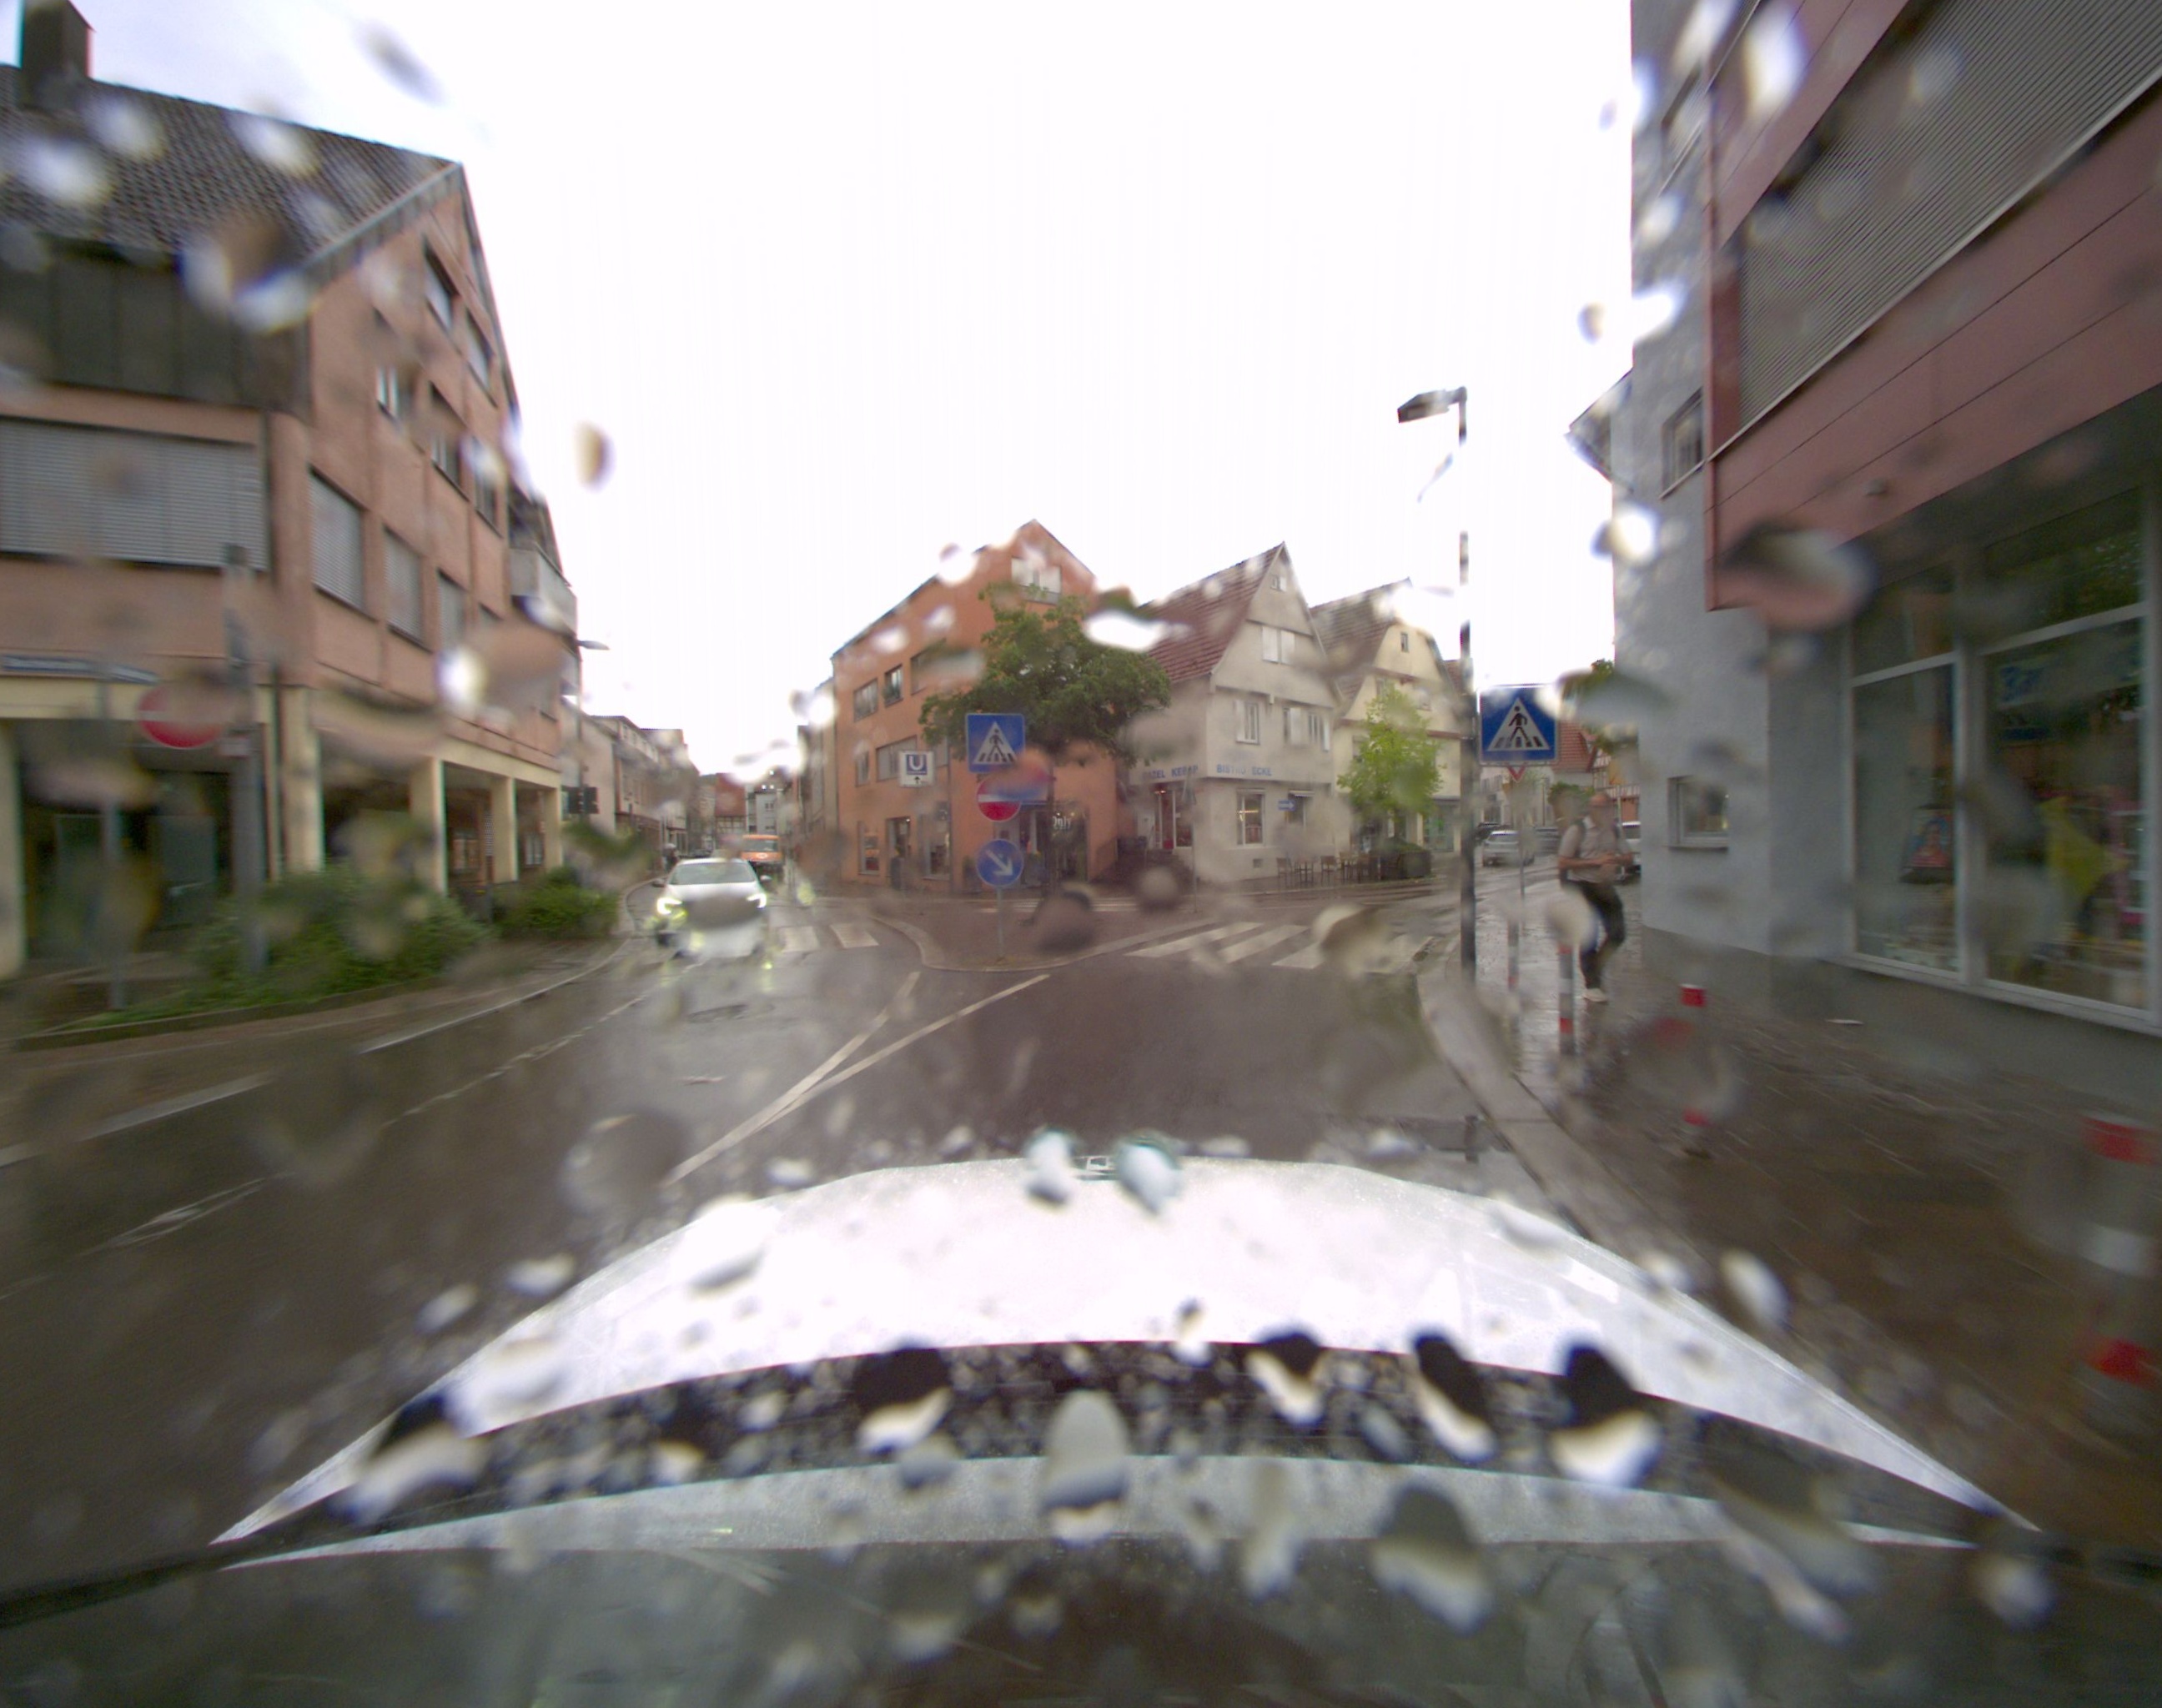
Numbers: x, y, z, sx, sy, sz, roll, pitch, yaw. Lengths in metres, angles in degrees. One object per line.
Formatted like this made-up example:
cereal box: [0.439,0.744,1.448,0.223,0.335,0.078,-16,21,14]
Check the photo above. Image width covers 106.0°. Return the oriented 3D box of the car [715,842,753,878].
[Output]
car: [-23.481,0.411,55.278,2.112,2.146,4.832,-4,1,-22]

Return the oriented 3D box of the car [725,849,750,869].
car: [-37.116,0.577,88.086,1.999,2.013,3.975,-4,1,-18]

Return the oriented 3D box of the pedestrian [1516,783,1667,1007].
pedestrian: [4.664,0.346,7.487,0.756,1.914,0.860,-2,0,-13]

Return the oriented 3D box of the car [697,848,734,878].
car: [-27.486,0.671,61.334,1.999,2.013,4.336,-4,1,-18]

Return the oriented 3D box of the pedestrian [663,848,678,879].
pedestrian: [-27.085,0.620,53.743,0.838,2.013,0.847,-2,0,-25]

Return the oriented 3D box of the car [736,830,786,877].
car: [-16.260,-0.004,41.290,2.113,2.146,4.830,-4,1,-22]

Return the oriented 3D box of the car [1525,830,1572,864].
car: [25.121,-0.423,43.877,1.975,1.592,4.025,-3,1,27]

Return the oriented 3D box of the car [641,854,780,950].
car: [-6.732,0.755,15.172,2.001,1.441,4.134,-2,1,-21]

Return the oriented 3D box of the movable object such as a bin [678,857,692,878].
movable object such as a bin: [-27.461,0.927,56.460,0.838,1.382,0.847,-2,1,-25]

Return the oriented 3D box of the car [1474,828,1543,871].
car: [18.467,-0.209,35.090,1.974,1.592,4.026,-3,1,36]

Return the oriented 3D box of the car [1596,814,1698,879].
car: [16.715,-0.258,23.961,1.974,1.658,4.026,-3,1,41]

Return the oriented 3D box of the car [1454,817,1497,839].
car: [31.469,-2.074,65.052,1.981,1.592,4.011,-4,1,9]

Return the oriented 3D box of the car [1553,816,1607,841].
car: [34.435,-1.760,56.318,1.979,1.592,4.016,-3,1,14]

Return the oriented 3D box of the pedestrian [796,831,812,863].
pedestrian: [-18.094,-0.463,53.128,0.870,2.013,0.702,-2,0,-24]

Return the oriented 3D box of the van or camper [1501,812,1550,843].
van or camper: [30.503,-1.818,56.024,1.814,1.919,4.015,-3,1,13]

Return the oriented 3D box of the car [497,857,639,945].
car: [-9.892,0.808,15.996,1.722,1.458,3.880,-1,0,-23]
